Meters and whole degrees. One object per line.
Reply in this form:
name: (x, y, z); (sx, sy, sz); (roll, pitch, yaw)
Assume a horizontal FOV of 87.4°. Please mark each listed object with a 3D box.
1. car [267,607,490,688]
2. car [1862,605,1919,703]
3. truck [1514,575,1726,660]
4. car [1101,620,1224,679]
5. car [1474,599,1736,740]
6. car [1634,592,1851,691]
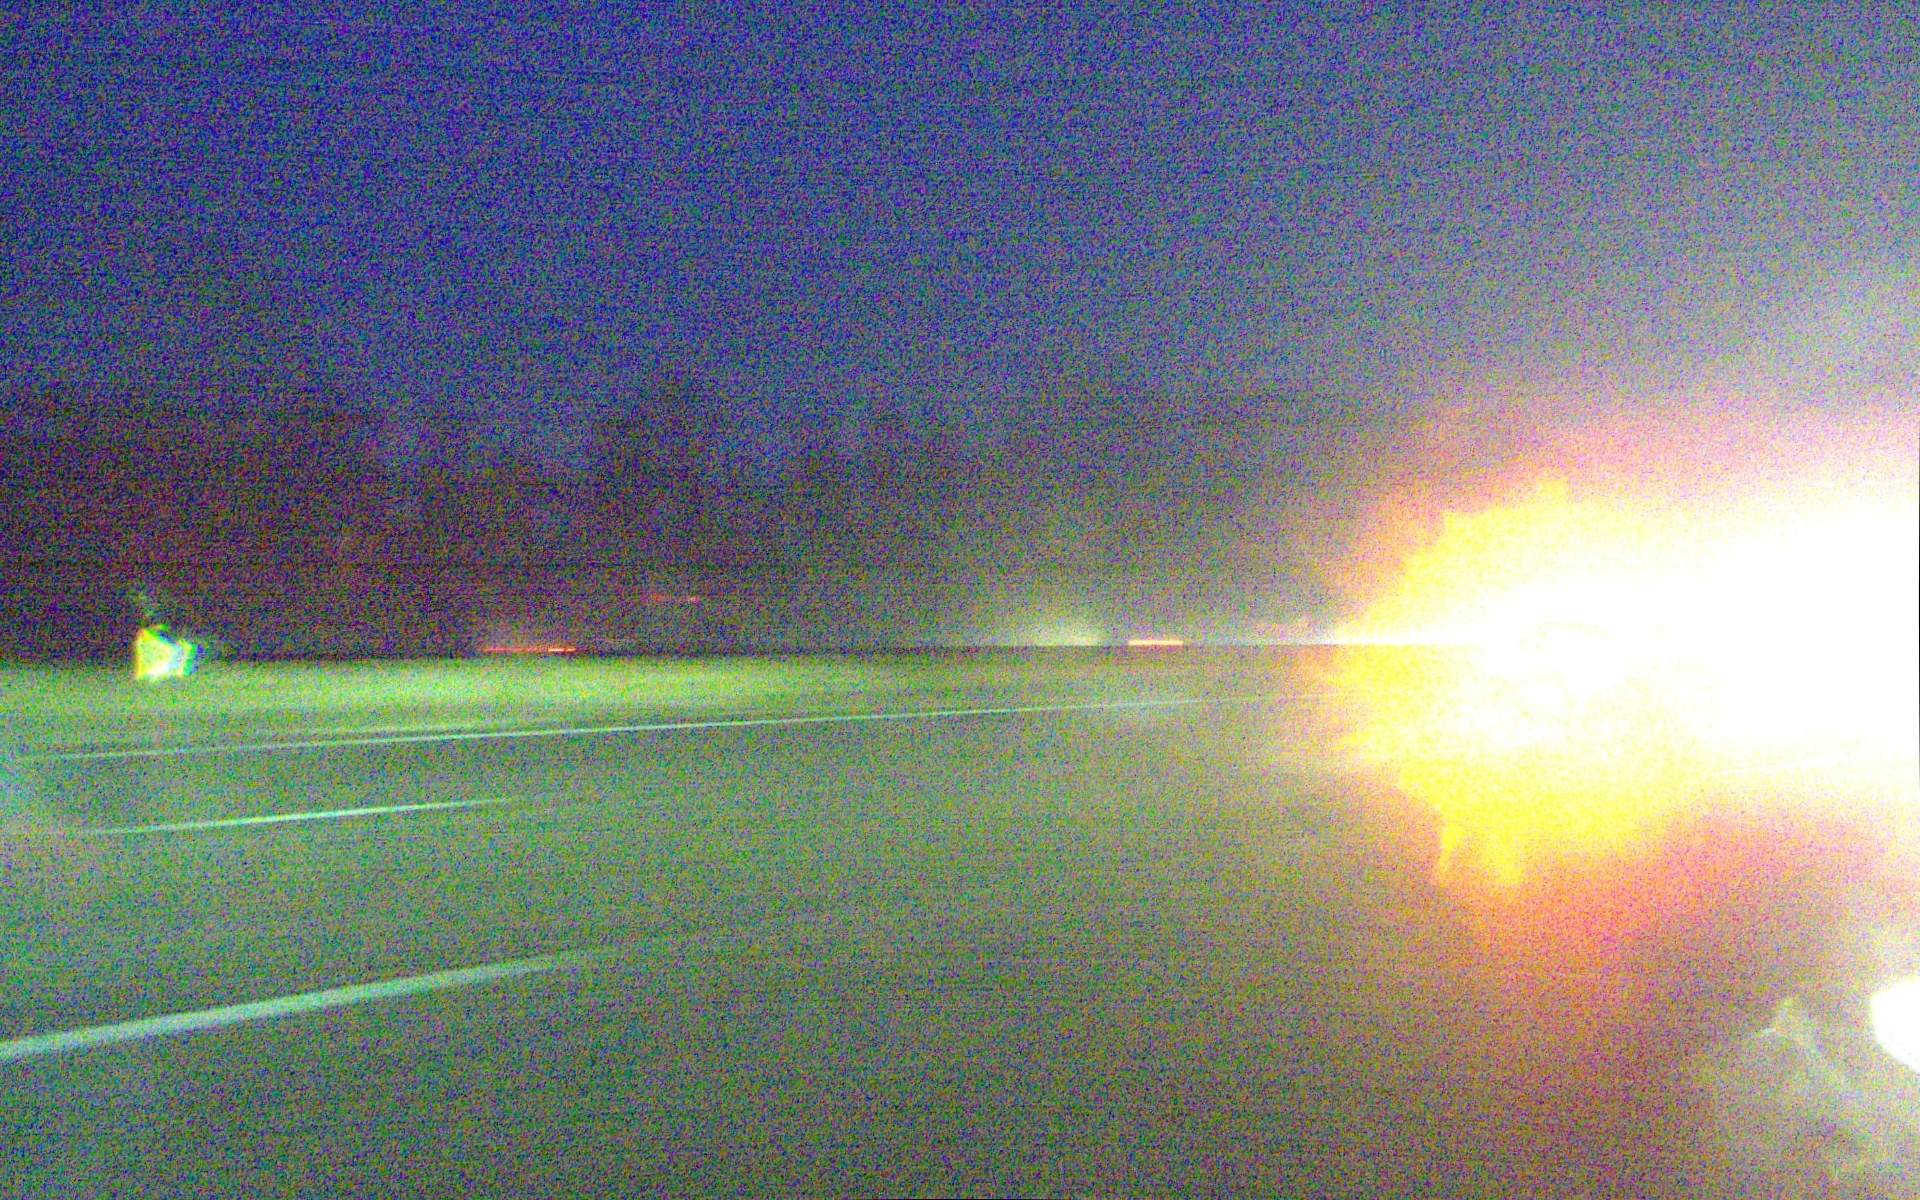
car: (-13.428, 1.063, 23.384); (4.297, 1.695, 1.983); (1, 0, -31)
car: (19.704, 1.057, 19.733); (4.472, 1.785, 2.025); (1, 0, -36)
truck: (40.122, 1.146, 60.599); (17.396, 4.619, 3.392); (1, 0, -31)
car: (6.750, 1.617, 33.423); (3.865, 1.829, 1.623); (1, 0, -30)
car: (9.167, 0.865, 14.195); (3.960, 1.712, 1.754); (0, 0, -35)
car: (18.554, 0.926, 23.757); (5.562, 2.132, 2.113); (1, 0, -30)
